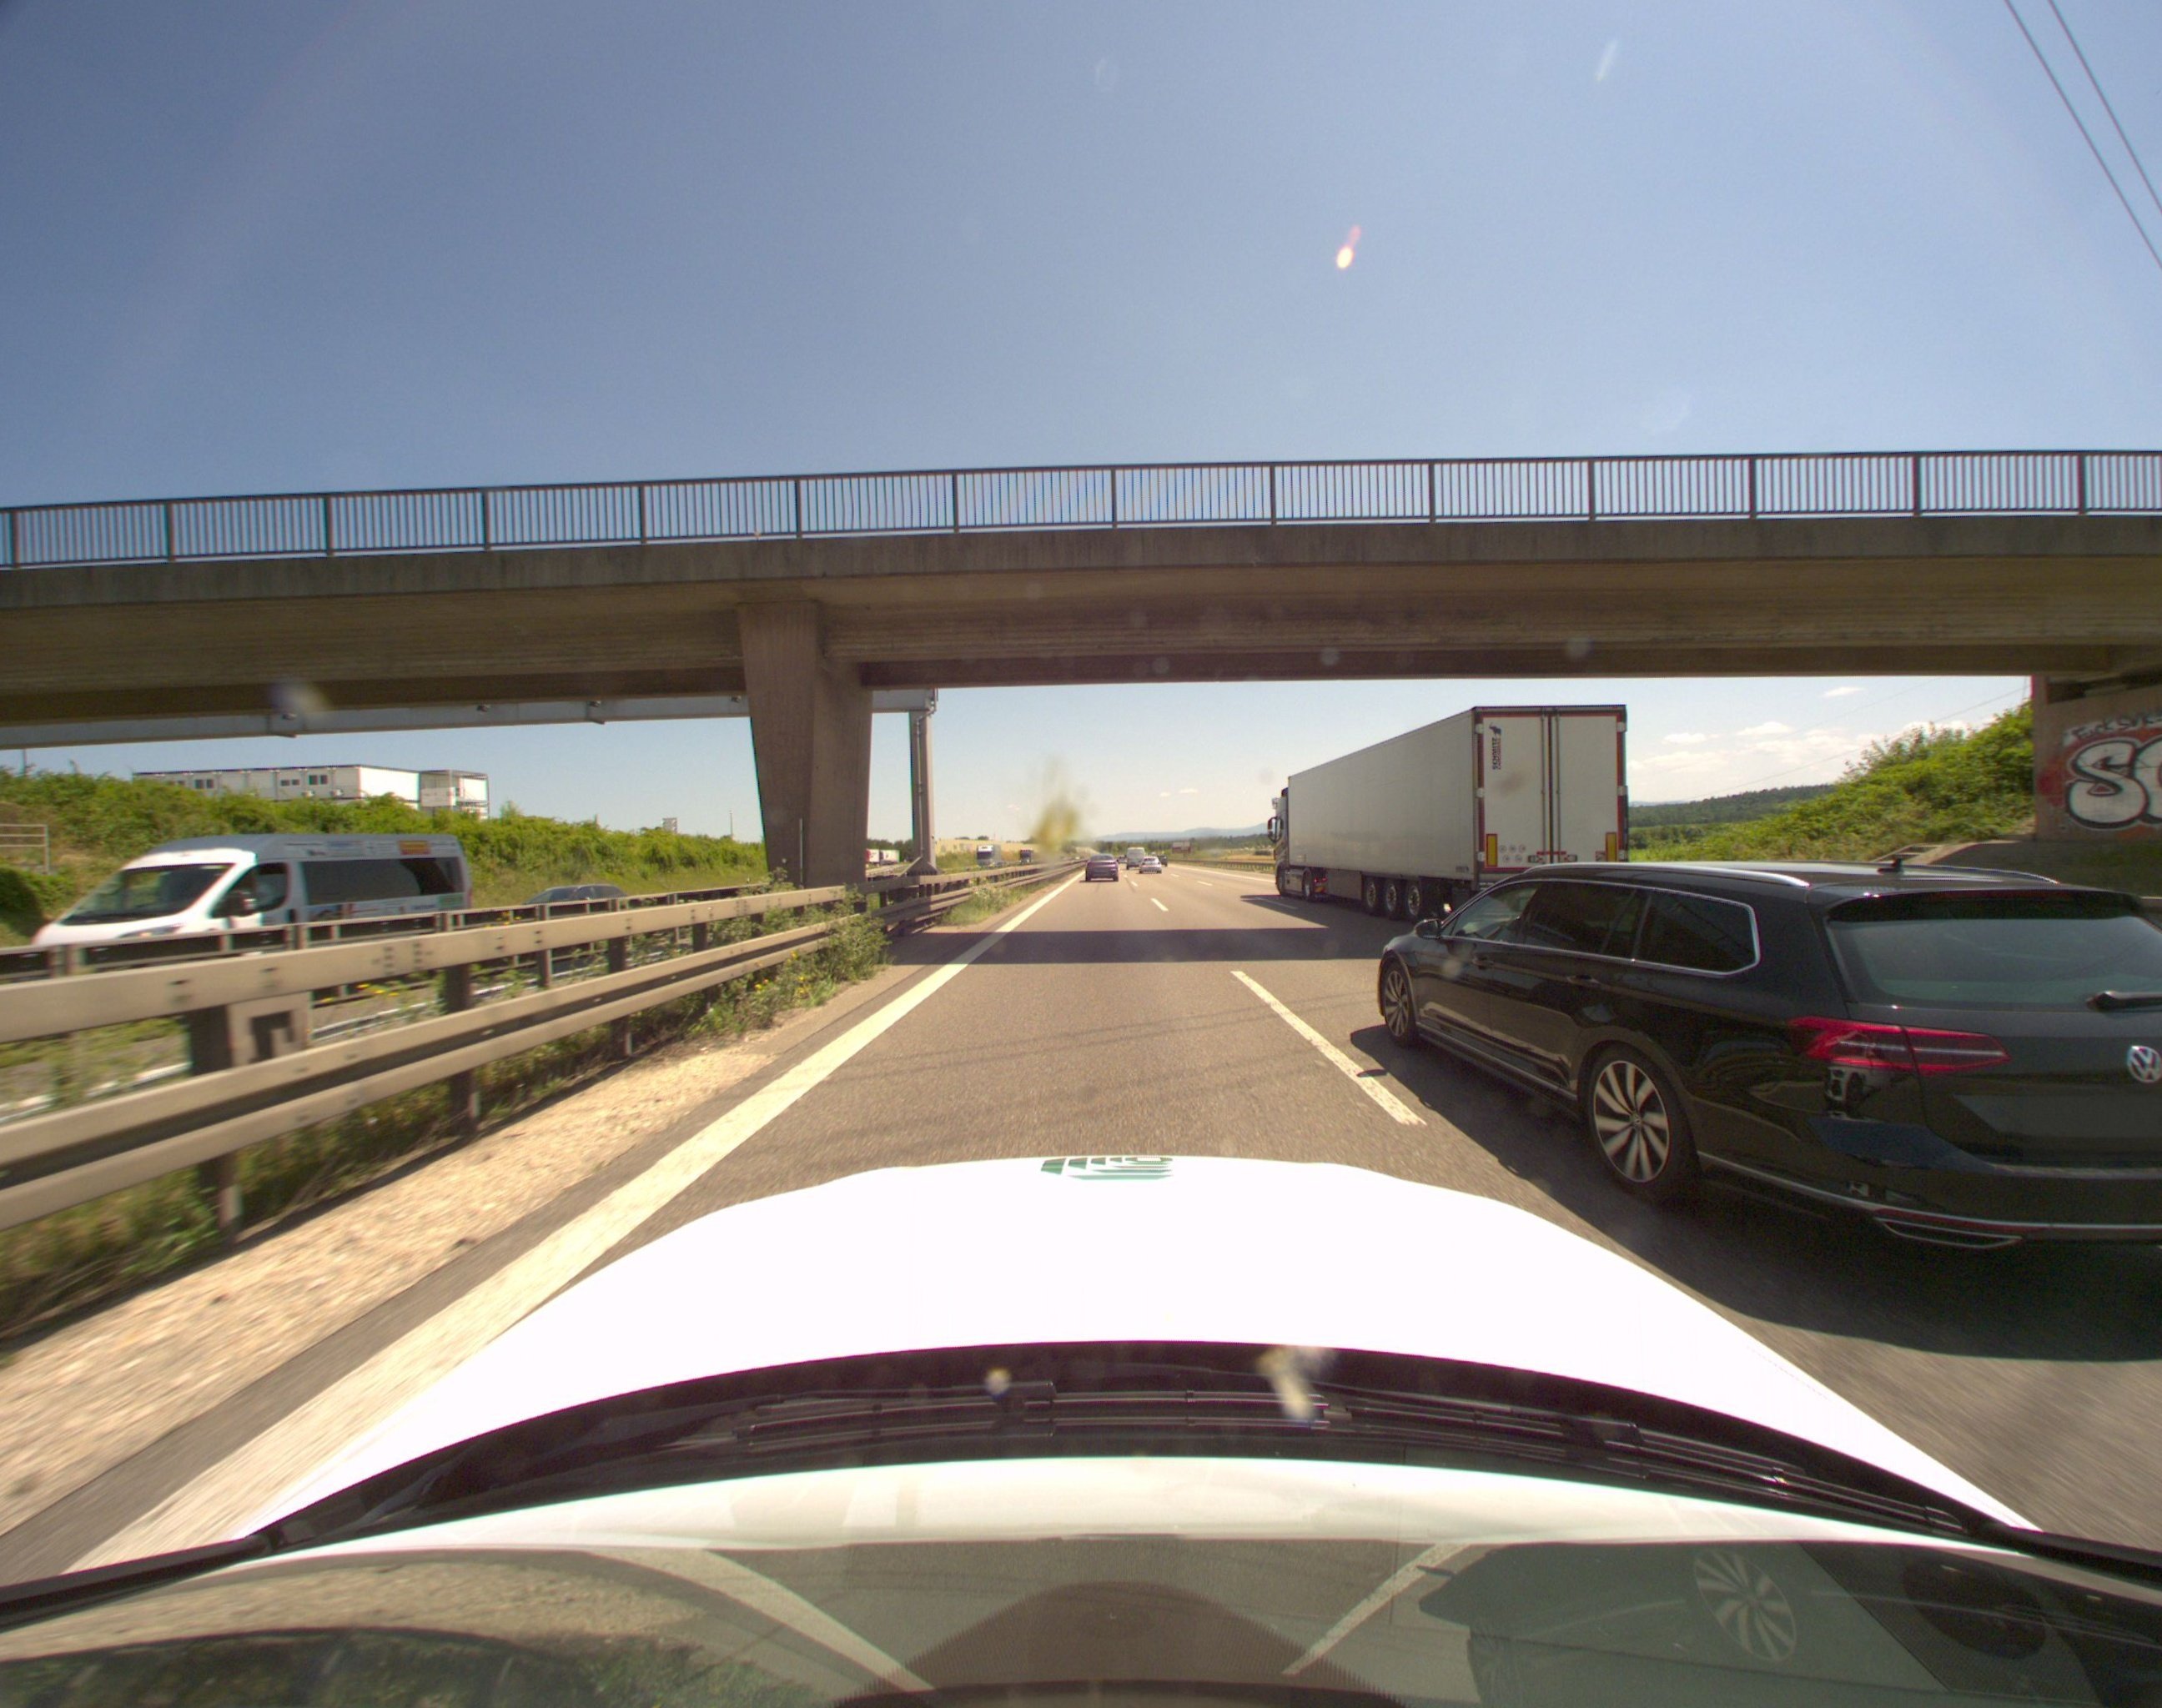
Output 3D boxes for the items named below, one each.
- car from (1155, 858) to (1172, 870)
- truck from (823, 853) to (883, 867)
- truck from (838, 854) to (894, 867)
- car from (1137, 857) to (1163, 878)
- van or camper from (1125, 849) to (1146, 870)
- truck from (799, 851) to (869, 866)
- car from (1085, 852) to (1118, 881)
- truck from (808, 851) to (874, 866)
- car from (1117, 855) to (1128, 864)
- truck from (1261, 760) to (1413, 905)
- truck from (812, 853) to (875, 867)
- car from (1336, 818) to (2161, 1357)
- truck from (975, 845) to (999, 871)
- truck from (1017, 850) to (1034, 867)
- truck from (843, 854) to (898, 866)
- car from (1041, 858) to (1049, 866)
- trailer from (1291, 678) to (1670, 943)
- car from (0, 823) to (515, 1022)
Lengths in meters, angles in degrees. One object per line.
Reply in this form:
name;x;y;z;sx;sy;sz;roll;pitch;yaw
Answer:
car;11.451;1.401;113.084;1.986;1.683;4.002;-1;0;2
truck;-56.175;1.435;201.015;14.536;3.139;2.629;0;0;-42
truck;-55.543;1.580;210.731;14.536;3.139;2.629;0;0;-42
car;5.880;1.131;69.311;1.986;1.683;4.002;-1;0;2
van or camper;5.910;0.555;88.583;2.103;2.211;5.267;-1;0;2
truck;-52.849;0.997;174.842;14.536;3.139;2.629;0;0;-42
car;1.185;0.711;49.187;1.846;1.664;3.733;0;0;-1
truck;-53.779;1.035;183.100;14.536;3.139;2.629;0;0;-42
car;7.726;1.008;152.897;1.986;1.683;4.002;-1;0;2
truck;8.374;-0.614;27.765;2.968;4.227;7.690;-1;0;2
truck;-55.701;1.444;191.514;14.536;3.139;2.629;0;0;-42
car;3.205;0.689;4.859;1.926;1.574;4.935;-1;0;1
truck;-13.697;0.543;118.976;2.729;3.679;5.900;-1;0;2
truck;-12.161;0.947;178.938;2.887;3.563;10.450;0;0;0
truck;-55.568;1.484;215.442;14.536;3.139;2.629;0;0;-42
car;-7.855;1.707;176.683;1.543;1.664;4.226;0;0;-1
trailer;8.109;-0.669;19.775;2.932;4.198;13.602;-1;0;2
car;-12.769;0.881;13.487;2.191;2.509;6.333;-1;0;2
